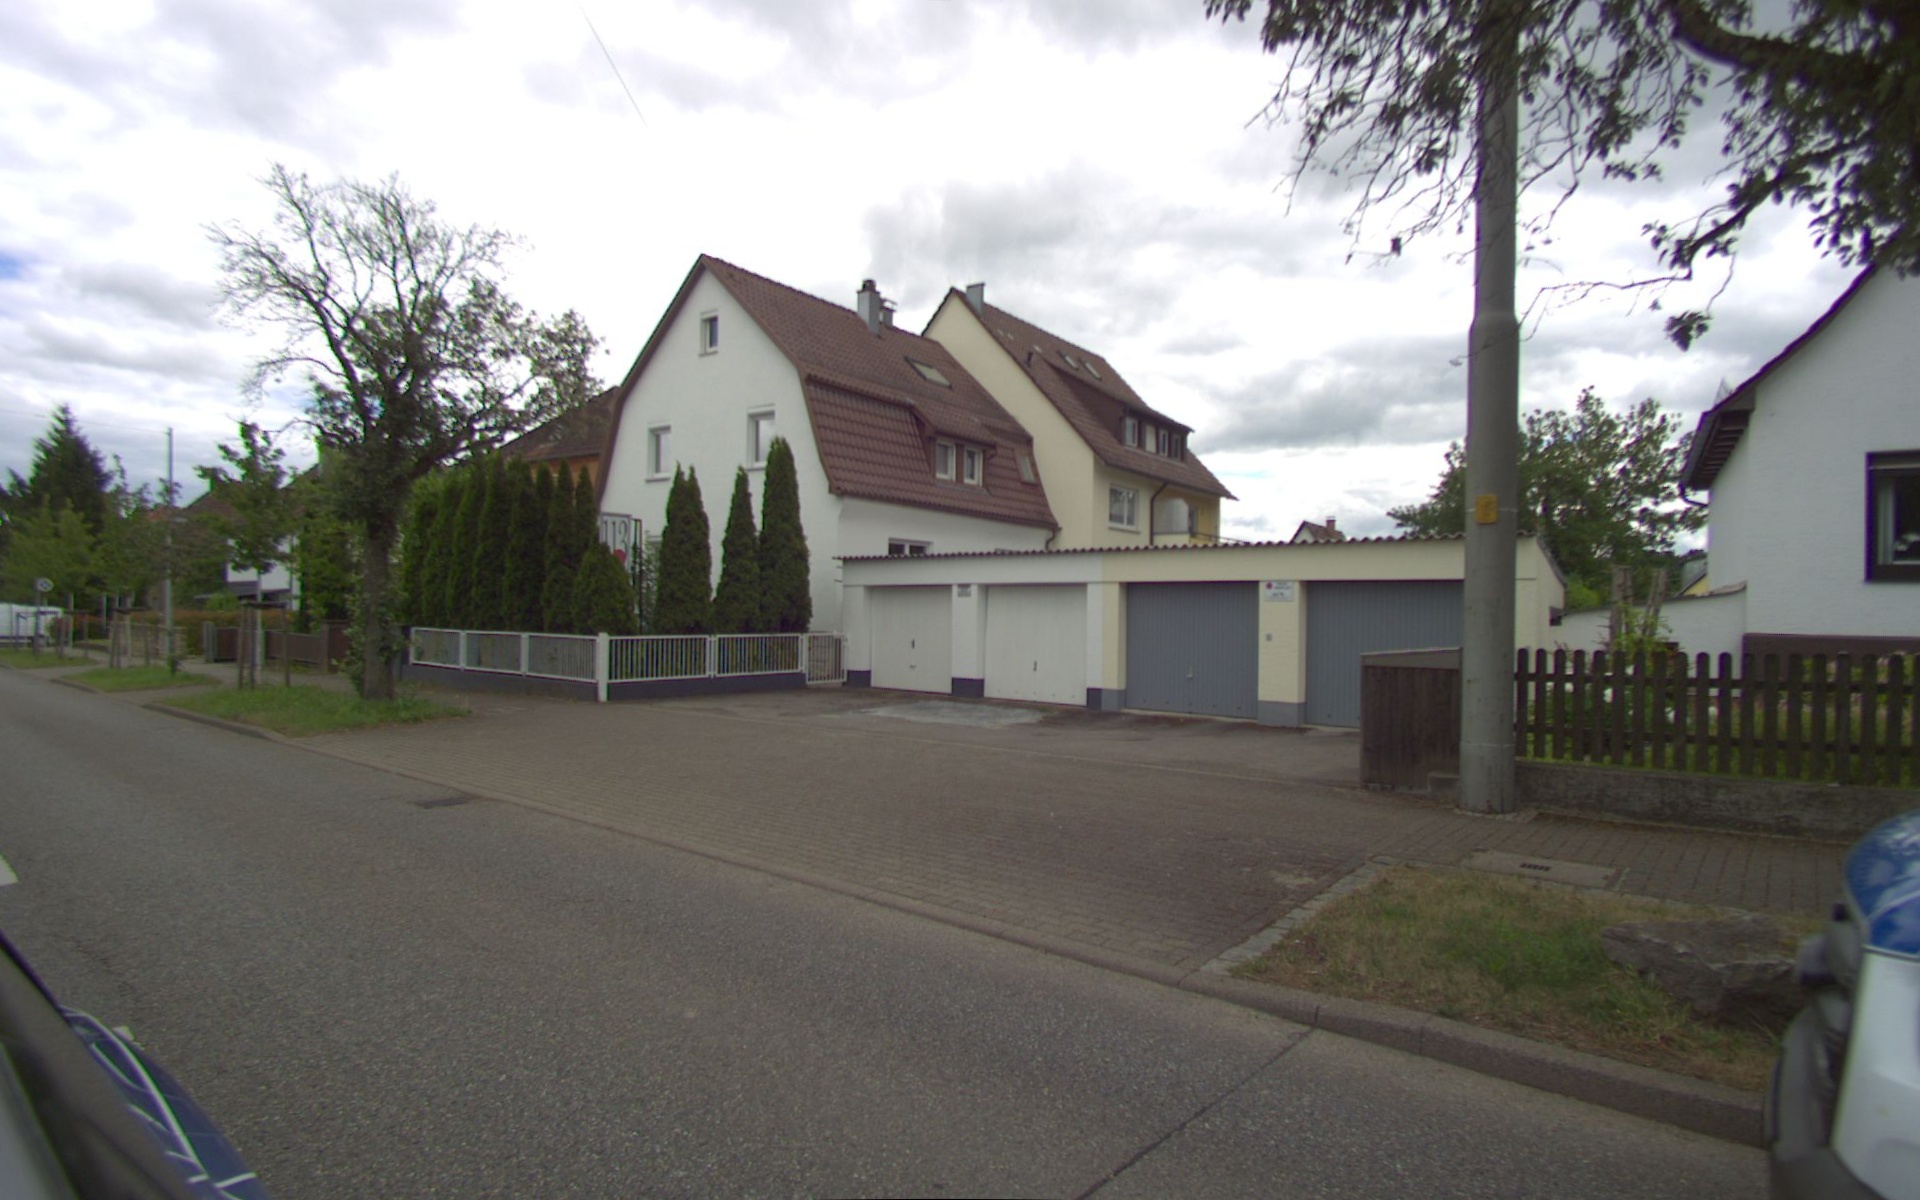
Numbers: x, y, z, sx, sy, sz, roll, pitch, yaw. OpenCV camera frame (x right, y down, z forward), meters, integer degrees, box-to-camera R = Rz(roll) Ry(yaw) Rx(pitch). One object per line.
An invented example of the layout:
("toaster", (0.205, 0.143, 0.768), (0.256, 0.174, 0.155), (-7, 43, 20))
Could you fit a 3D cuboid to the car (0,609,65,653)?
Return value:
("car", (-58.390, 1.844, 61.514), (5.527, 2.583, 2.137), (3, -3, -31))
